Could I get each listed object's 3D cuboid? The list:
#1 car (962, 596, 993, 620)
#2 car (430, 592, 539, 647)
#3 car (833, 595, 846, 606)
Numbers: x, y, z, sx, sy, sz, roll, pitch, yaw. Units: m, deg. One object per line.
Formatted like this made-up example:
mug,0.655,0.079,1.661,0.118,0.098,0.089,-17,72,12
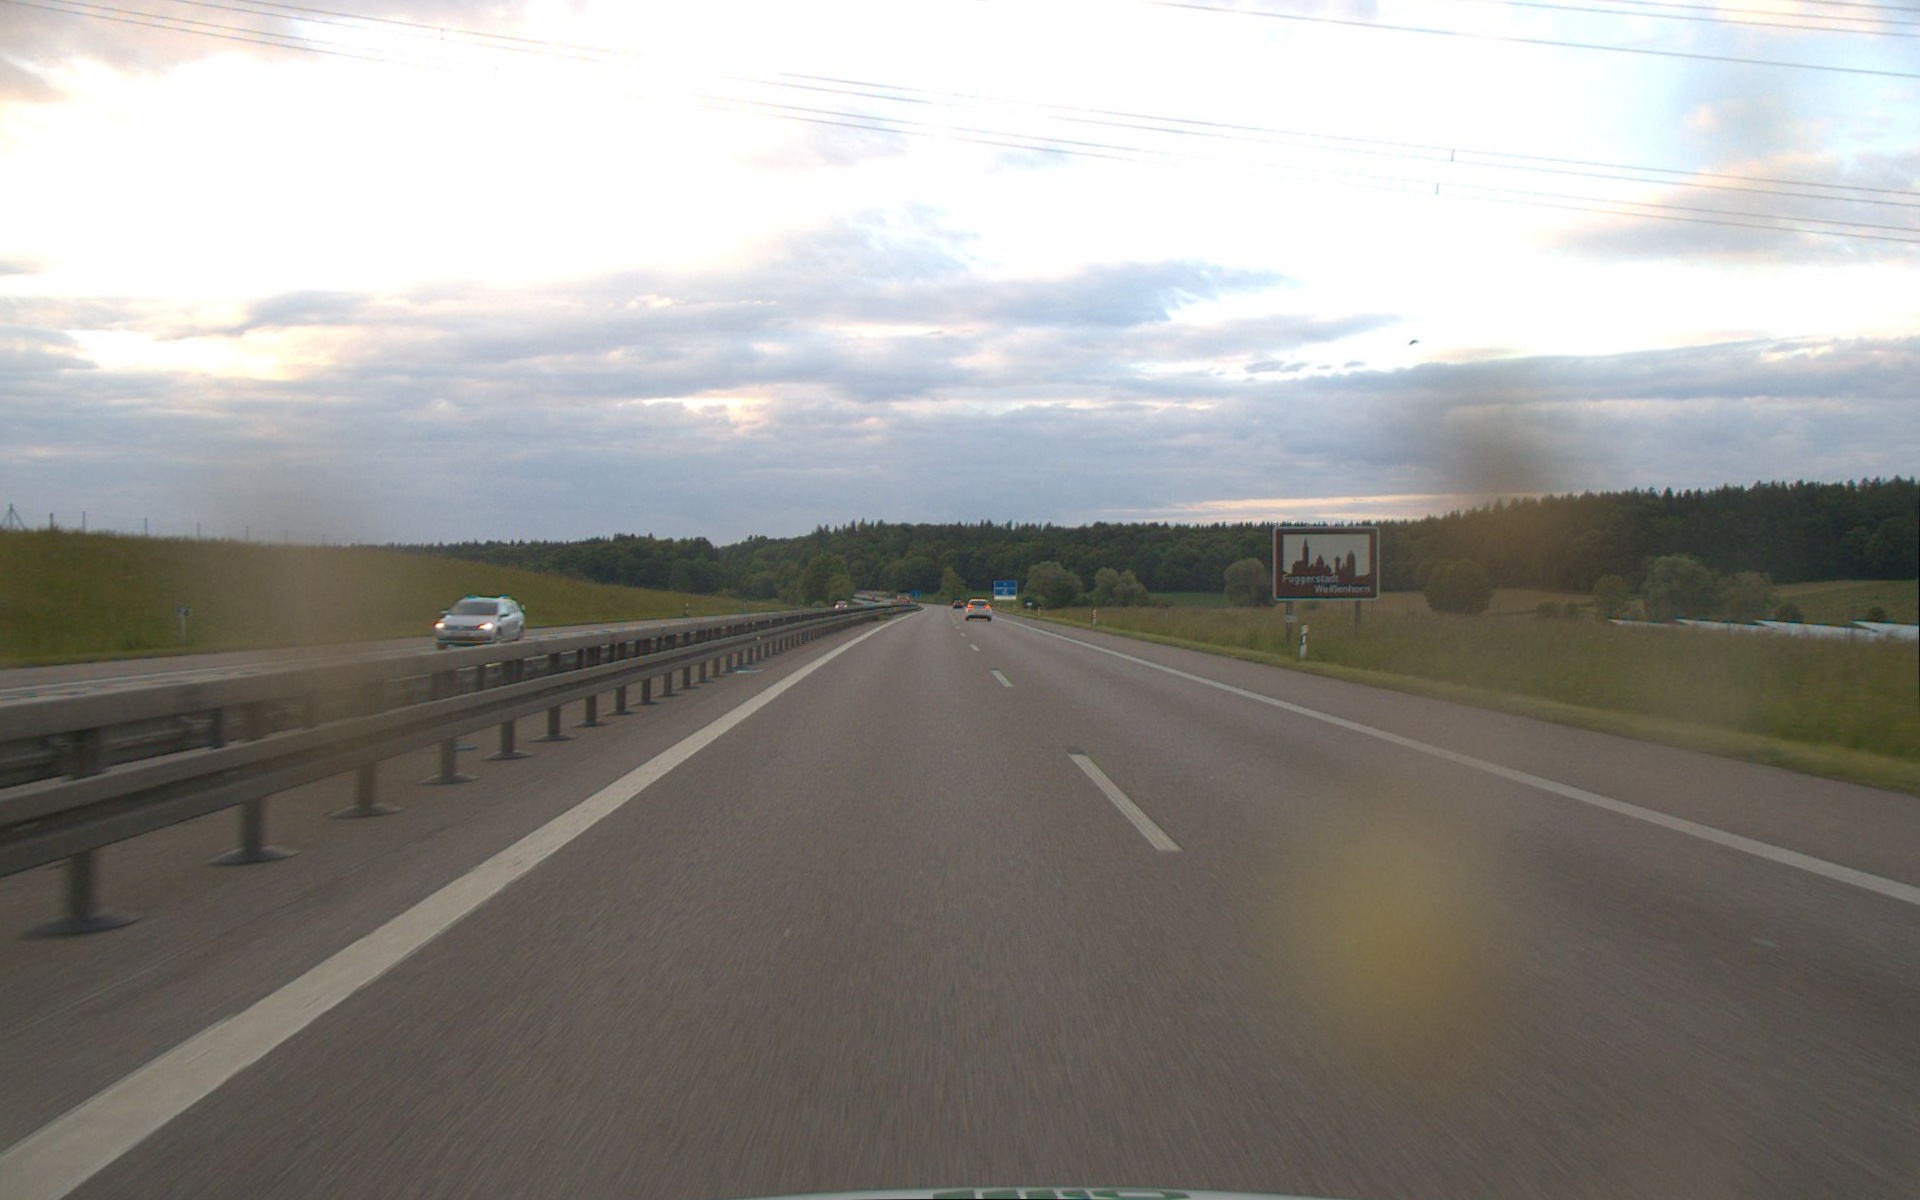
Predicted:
car,1.210,0.540,114.947,1.912,1.558,4.078,1,0,-3
car,-14.215,0.545,49.738,1.729,1.508,5.333,1,0,-1
car,-16.909,0.036,232.426,1.497,1.458,4.433,1,0,-1
